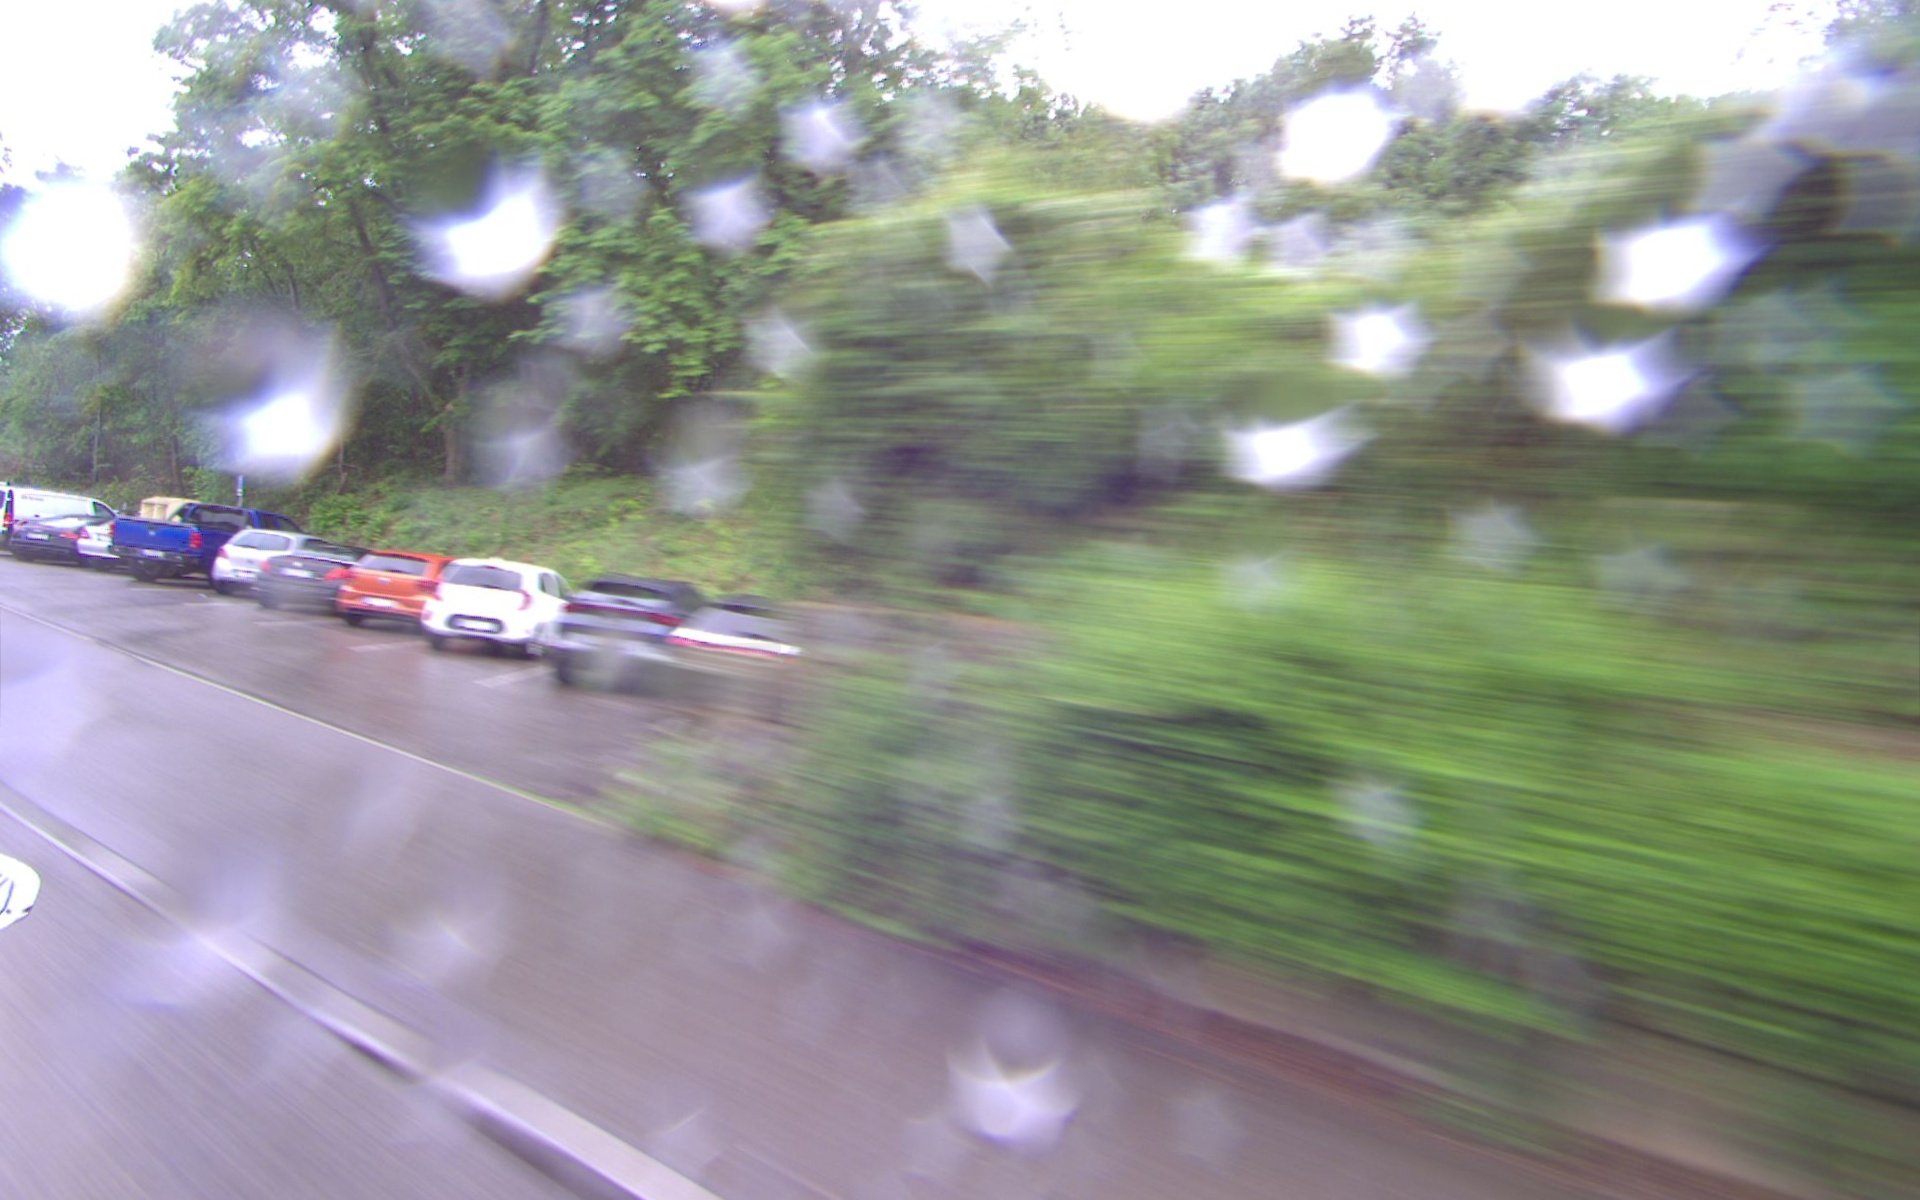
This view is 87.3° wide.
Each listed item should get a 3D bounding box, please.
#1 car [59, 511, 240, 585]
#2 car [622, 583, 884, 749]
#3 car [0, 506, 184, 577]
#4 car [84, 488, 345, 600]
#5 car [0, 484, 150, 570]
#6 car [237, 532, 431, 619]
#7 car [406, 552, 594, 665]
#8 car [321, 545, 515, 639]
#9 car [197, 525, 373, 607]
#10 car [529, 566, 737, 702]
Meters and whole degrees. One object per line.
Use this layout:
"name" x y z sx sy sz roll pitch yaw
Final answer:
"car" -20.828 -1.276 26.074 1.598 1.429 3.992 7 -1 -6
"car" -2.306 0.736 12.495 1.778 1.482 4.318 7 -1 7
"car" -22.820 -1.467 26.601 1.730 1.364 3.795 7 -1 -4
"car" -17.954 -1.229 24.711 2.289 1.991 5.482 7 -2 -3
"car" -25.786 -2.070 28.263 2.118 1.963 4.842 7 -1 -3
"car" -12.834 -0.424 20.921 1.687 1.418 3.842 7 -1 -4
"car" -7.634 0.127 17.094 1.722 1.498 3.790 7 -1 -8
"car" -10.236 -0.100 19.342 1.686 1.418 3.795 7 -1 -3
"car" -15.449 -0.707 23.278 1.590 1.504 3.910 7 -1 -6
"car" -4.601 0.455 14.827 1.720 1.525 4.090 7 -1 -2
